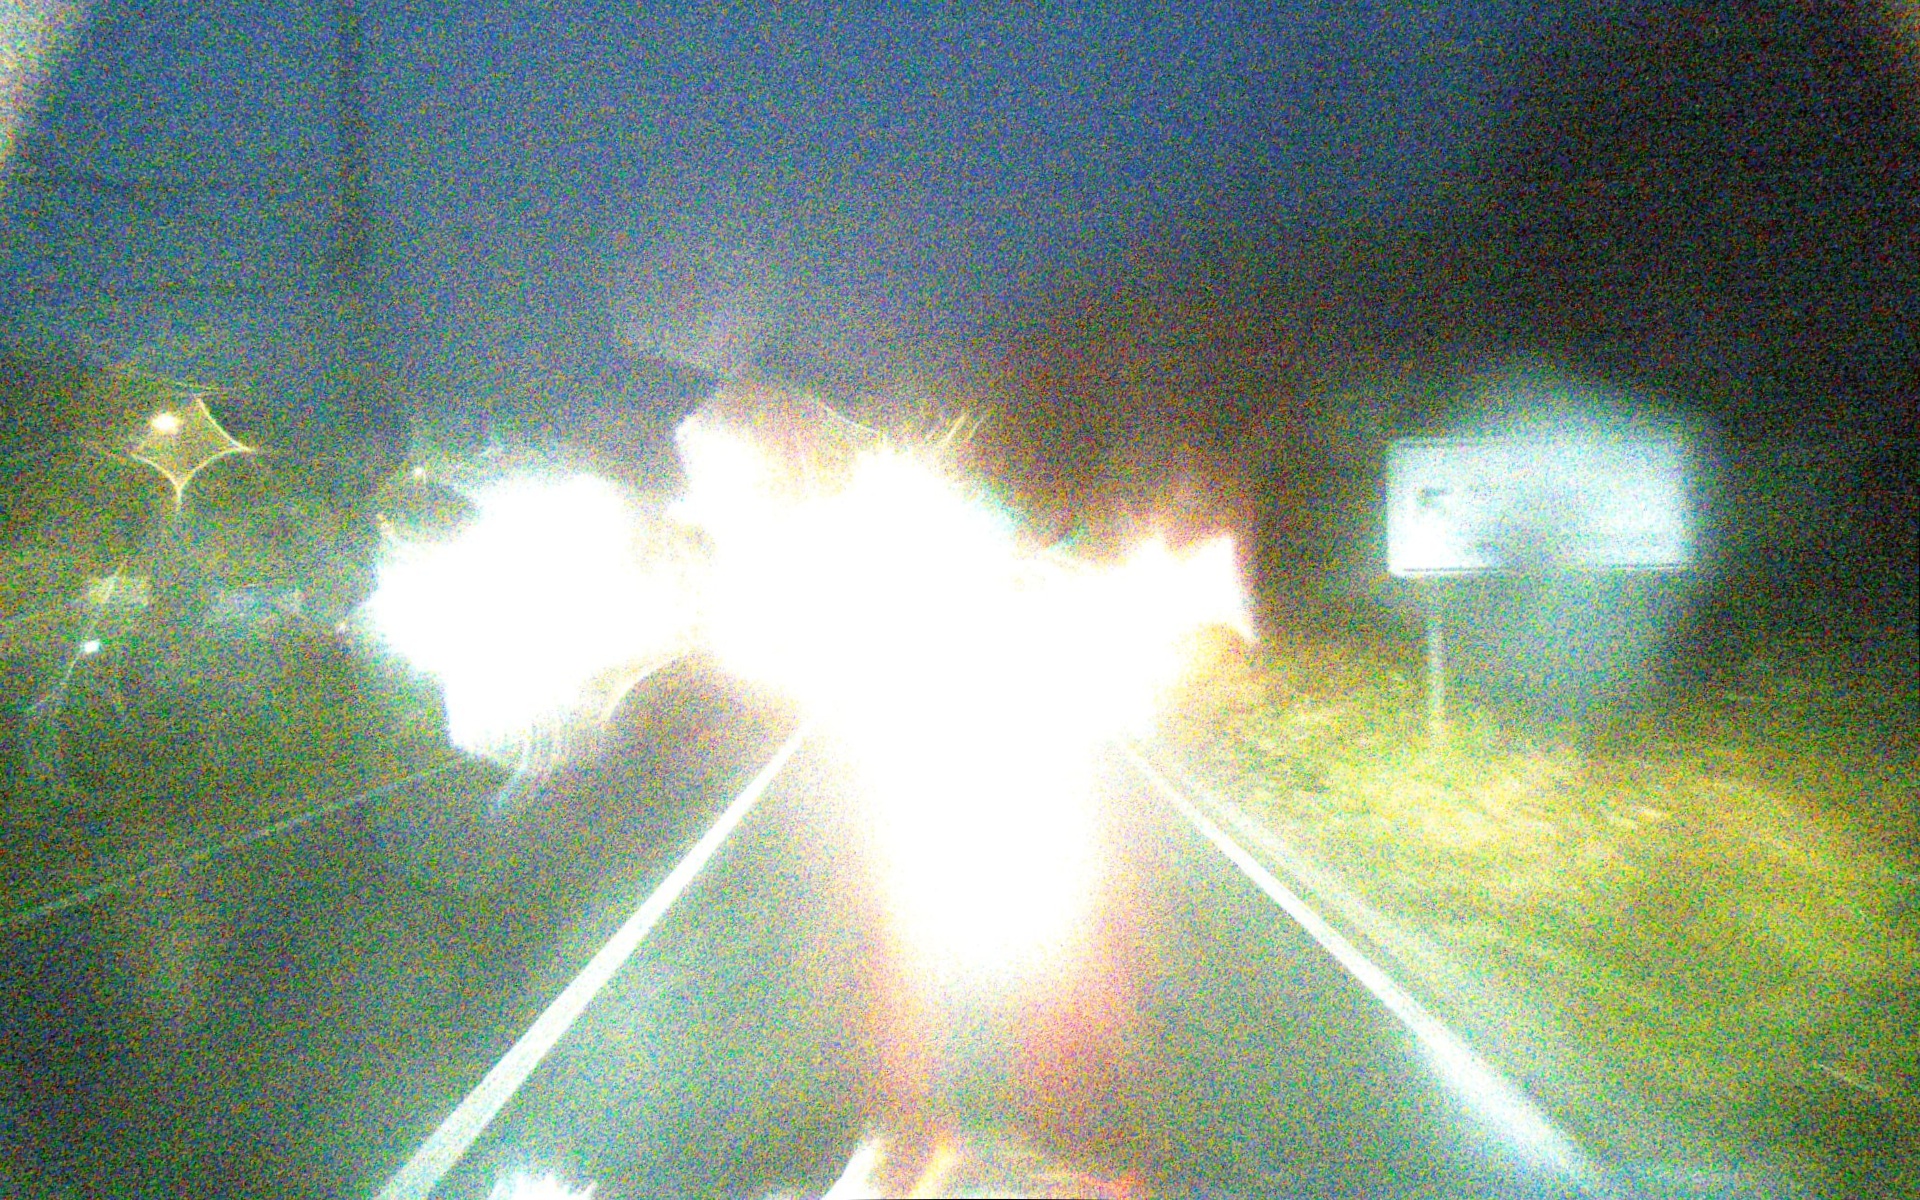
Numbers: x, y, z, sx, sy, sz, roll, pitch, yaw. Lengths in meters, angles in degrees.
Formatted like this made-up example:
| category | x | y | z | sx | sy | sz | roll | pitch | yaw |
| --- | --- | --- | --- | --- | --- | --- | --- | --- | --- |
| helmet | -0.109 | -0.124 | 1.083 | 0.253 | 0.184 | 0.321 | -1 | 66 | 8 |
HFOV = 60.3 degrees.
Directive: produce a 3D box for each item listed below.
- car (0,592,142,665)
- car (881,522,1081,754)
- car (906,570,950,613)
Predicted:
| category | x | y | z | sx | sy | sz | roll | pitch | yaw |
| --- | --- | --- | --- | --- | --- | --- | --- | --- | --- |
| car | -22.959 | 0.690 | 42.694 | 1.750 | 1.723 | 4.217 | -1 | 1 | -3 |
| car | 0.246 | 0.310 | 17.558 | 1.754 | 2.057 | 4.581 | -3 | 1 | 1 |
| car | -1.488 | -0.398 | 75.603 | 1.748 | 1.813 | 4.433 | -3 | 1 | -4 |
